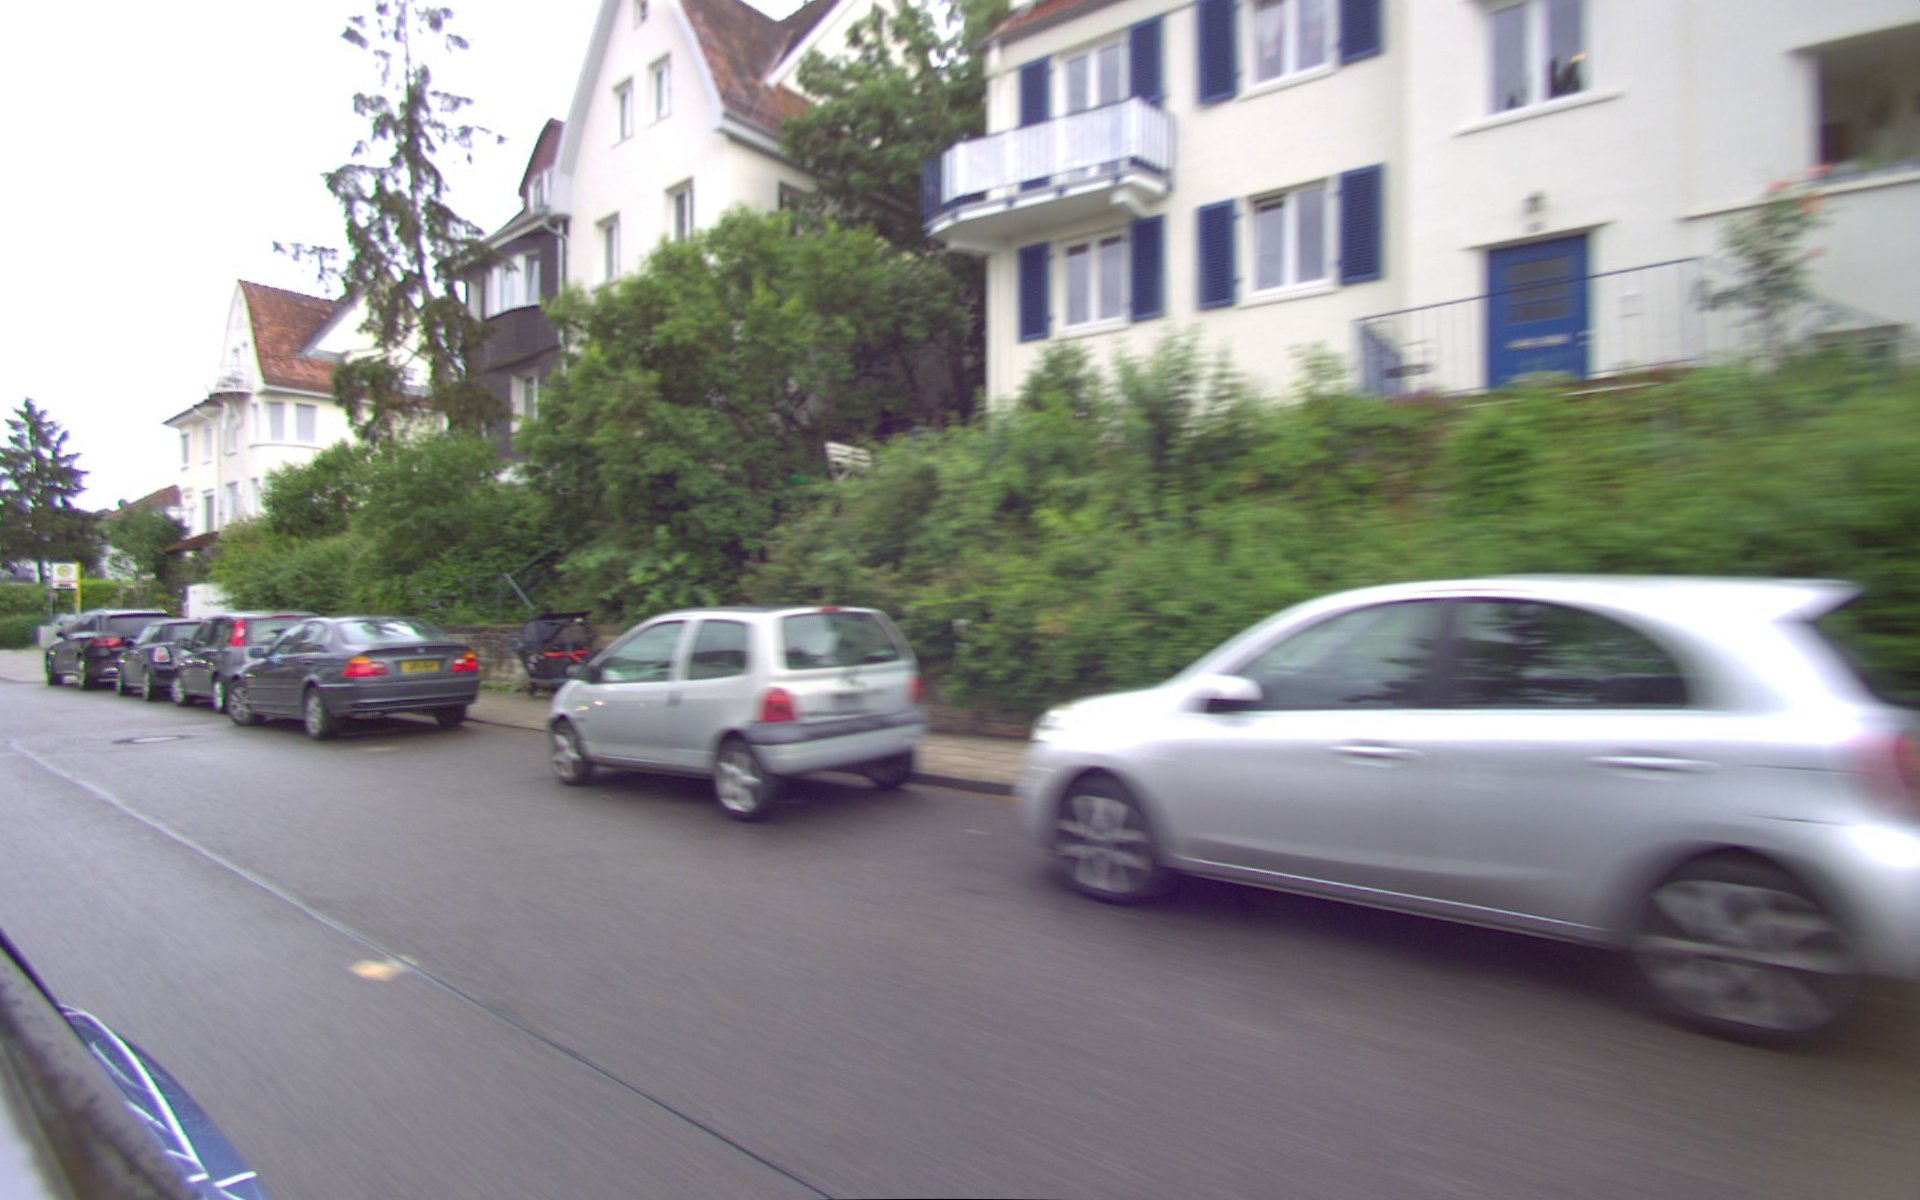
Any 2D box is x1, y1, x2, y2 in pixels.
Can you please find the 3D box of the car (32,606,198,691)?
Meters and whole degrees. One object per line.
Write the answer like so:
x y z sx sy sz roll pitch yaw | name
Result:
-18.526 1.013 22.137 4.372 1.634 1.876 -2 0 38 | car

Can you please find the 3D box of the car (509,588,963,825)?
-1.912 0.733 8.077 3.624 1.458 1.630 -3 -1 40 | car

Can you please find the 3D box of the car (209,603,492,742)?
-7.901 0.875 12.941 4.412 1.458 1.738 -3 -1 40 | car

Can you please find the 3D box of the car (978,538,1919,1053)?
2.082 0.563 4.521 3.811 1.458 1.677 -1 0 41 | car

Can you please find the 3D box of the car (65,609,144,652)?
-37.437 1.348 44.268 3.992 1.709 1.750 -3 -1 36 | car

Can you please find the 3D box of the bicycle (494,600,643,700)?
-5.659 0.715 14.548 2.289 1.311 0.994 -3 -1 40 | bicycle

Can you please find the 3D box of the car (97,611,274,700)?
-14.686 1.041 19.125 3.810 1.458 1.874 -3 -1 40 | car

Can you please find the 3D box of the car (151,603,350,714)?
-11.532 0.885 16.374 3.810 1.553 1.680 -1 0 40 | car
